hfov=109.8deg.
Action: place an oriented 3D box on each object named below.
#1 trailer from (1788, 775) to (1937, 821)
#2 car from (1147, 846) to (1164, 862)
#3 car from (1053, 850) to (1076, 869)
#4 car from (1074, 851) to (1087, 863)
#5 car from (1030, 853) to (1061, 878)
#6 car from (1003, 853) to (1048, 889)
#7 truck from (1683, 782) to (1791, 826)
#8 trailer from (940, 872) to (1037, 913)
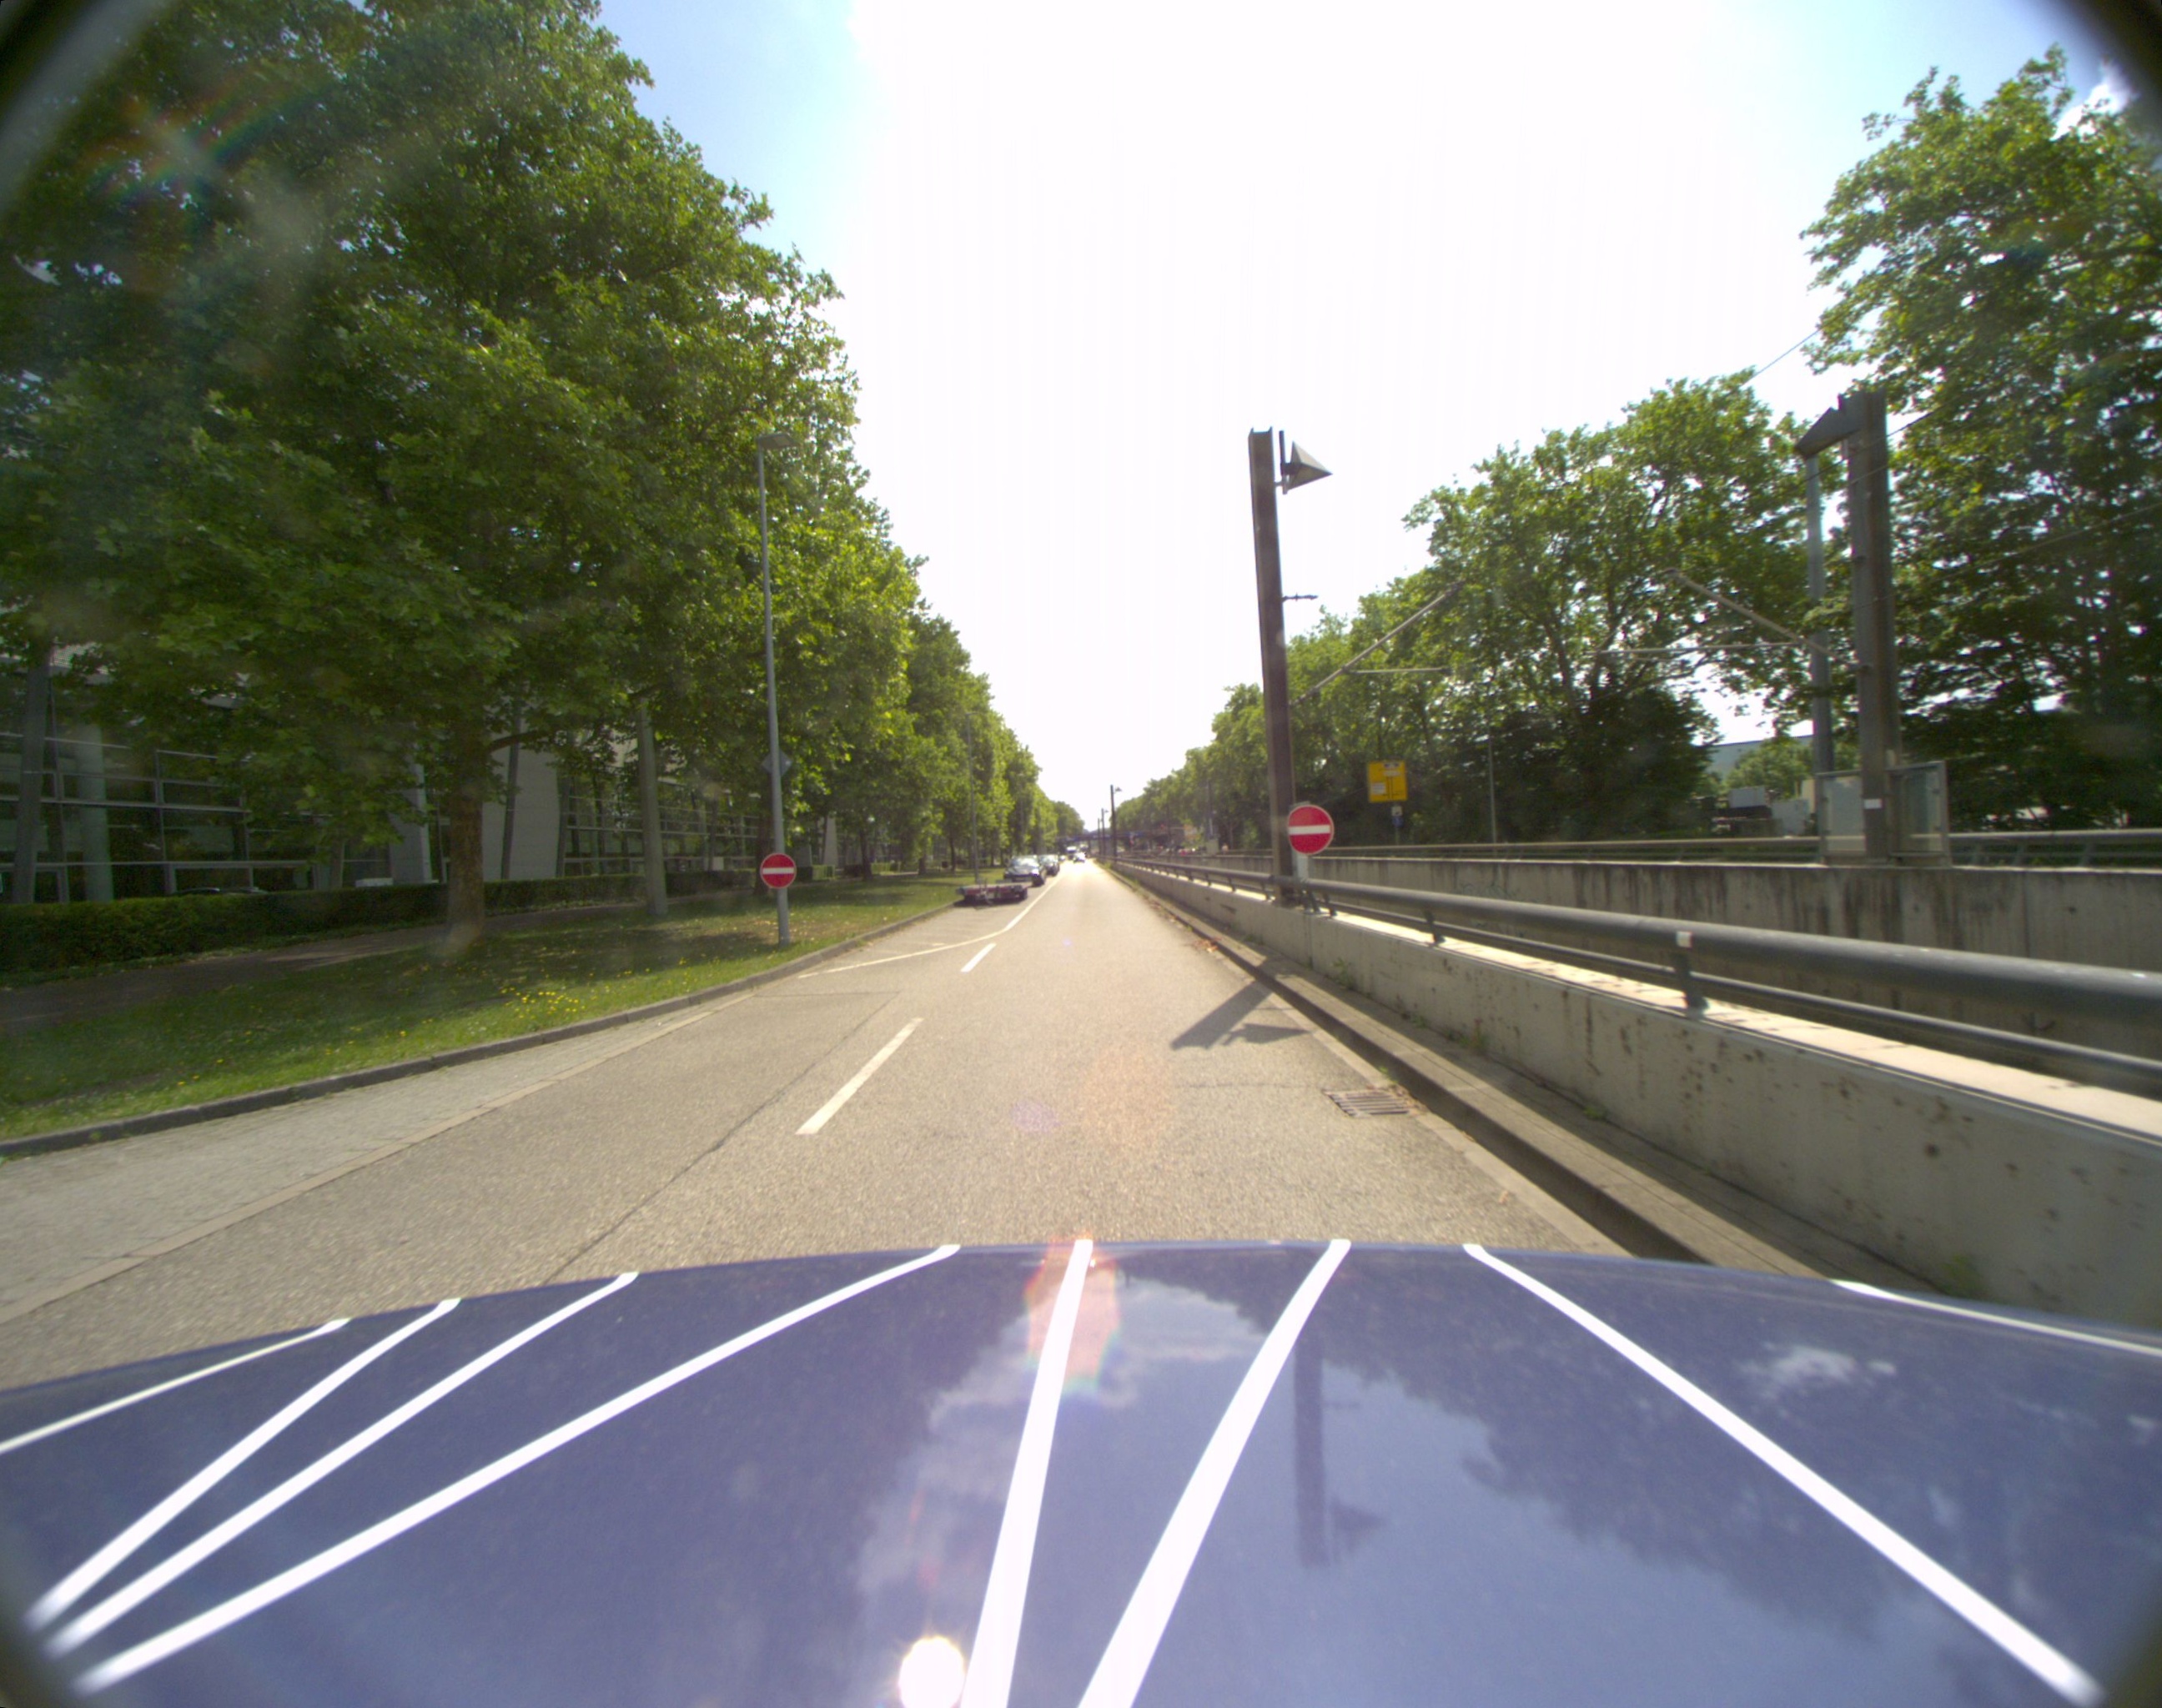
[{"bbox_3d":[68.842,-4.848,67.289,8.869,3.478,2.873,-1,1,40],"label":"trailer"},{"bbox_3d":[9.051,0.001,92.634,1.713,1.870,4.095,-2,1,1],"label":"car"},{"bbox_3d":[-1.445,0.512,68.436,1.809,1.496,3.734,-4,1,1],"label":"car"},{"bbox_3d":[-0.039,0.452,124.711,1.998,1.711,4.304,-2,1,1],"label":"car"},{"bbox_3d":[-2.479,0.777,53.836,1.809,1.496,3.734,-4,1,1],"label":"car"},{"bbox_3d":[-2.691,0.795,37.767,1.809,1.496,3.734,-4,1,1],"label":"car"},{"bbox_3d":[62.445,-4.714,72.564,7.704,3.640,3.065,-1,2,40],"label":"truck"},{"bbox_3d":[-2.918,1.209,25.705,2.303,0.823,6.819,-3,1,1],"label":"trailer"}]
